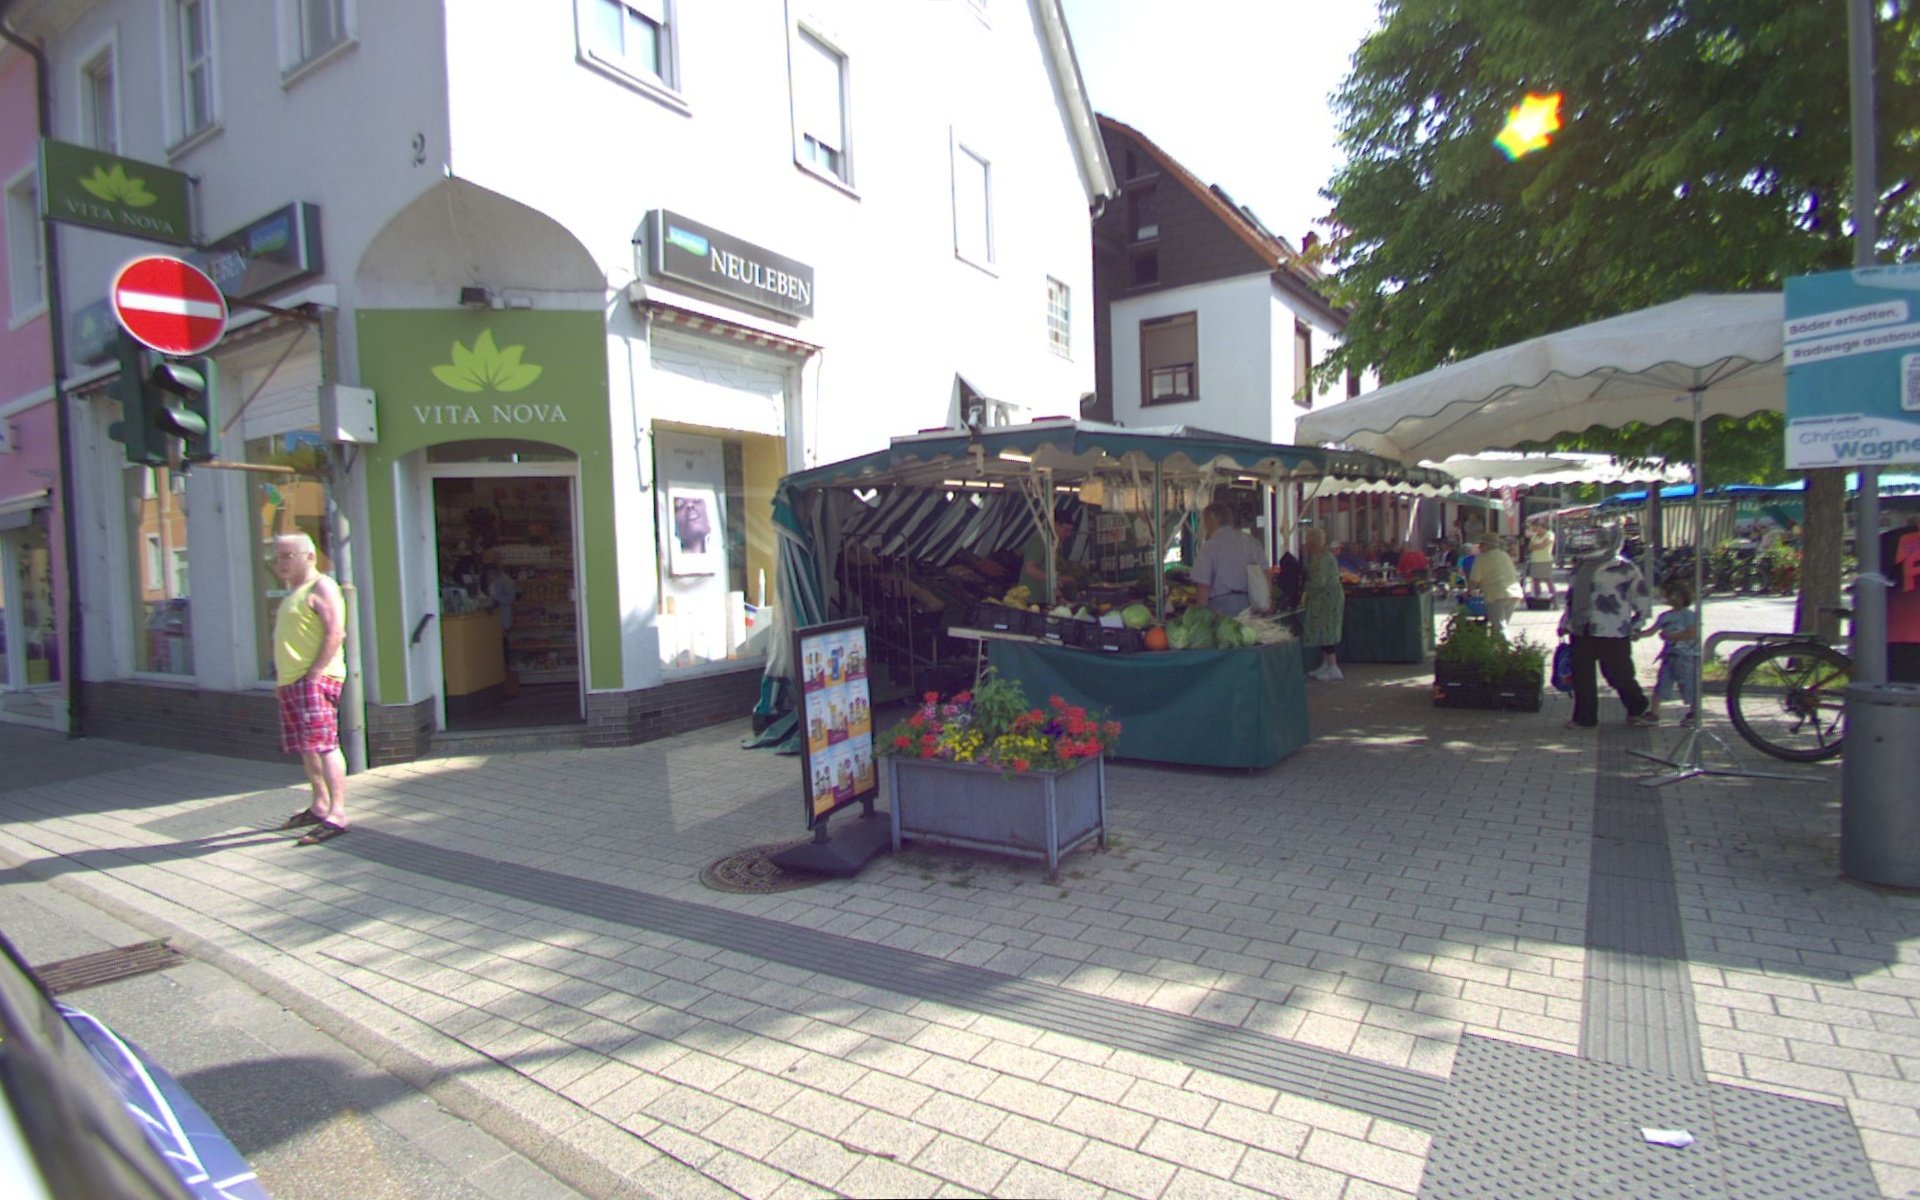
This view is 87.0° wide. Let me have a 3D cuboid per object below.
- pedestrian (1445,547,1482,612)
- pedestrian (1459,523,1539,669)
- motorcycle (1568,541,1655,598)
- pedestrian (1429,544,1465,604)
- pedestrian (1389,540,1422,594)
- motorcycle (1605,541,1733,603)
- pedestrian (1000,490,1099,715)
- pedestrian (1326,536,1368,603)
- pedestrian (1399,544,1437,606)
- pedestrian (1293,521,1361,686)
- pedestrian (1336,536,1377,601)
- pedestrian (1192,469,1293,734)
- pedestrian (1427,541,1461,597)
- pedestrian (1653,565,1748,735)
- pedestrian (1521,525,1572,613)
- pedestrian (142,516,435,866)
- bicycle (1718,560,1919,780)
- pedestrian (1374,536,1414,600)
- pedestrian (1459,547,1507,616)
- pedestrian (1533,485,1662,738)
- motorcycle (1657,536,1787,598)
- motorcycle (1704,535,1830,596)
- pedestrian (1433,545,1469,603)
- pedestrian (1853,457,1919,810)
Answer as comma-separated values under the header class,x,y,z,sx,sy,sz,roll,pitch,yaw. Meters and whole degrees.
class,x,y,z,sx,sy,sz,roll,pitch,yaw
pedestrian,9.540,-0.401,19.187,0.569,1.209,0.646,1,3,24
pedestrian,5.881,-0.044,11.045,0.622,1.529,0.624,-1,1,41
motorcycle,14.158,-0.680,22.010,1.529,1.204,0.636,2,3,35
pedestrian,10.089,-0.544,20.966,0.571,1.209,0.643,2,4,35
pedestrian,10.163,-0.752,23.098,0.571,1.209,0.643,2,4,35
motorcycle,14.378,-0.593,20.572,0.634,1.204,2.008,-3,4,-42
pedestrian,0.823,0.010,9.324,0.695,1.985,0.510,-2,1,-29
pedestrian,7.905,-0.641,20.687,0.626,1.340,0.691,2,4,38
pedestrian,9.152,-0.505,20.206,0.571,1.209,0.643,2,4,35
pedestrian,3.808,0.031,10.488,0.520,1.639,0.700,-1,1,30
pedestrian,8.399,-0.677,21.450,0.626,1.340,0.691,2,4,38
pedestrian,2.230,0.013,8.056,0.700,2.000,0.650,-1,1,14
pedestrian,10.705,-0.685,22.386,0.571,1.209,0.643,2,4,35
pedestrian,5.391,0.338,7.362,0.516,1.169,0.614,-1,1,39
pedestrian,10.657,-0.570,18.388,0.699,1.565,0.564,2,4,41
pedestrian,-3.887,0.461,5.994,1.004,1.827,0.910,-6,5,-13
bicycle,5.703,0.389,5.963,1.849,1.244,0.613,-2,1,22
pedestrian,9.279,-0.685,21.643,0.626,1.340,0.691,2,4,38
pedestrian,9.394,-0.343,18.197,0.694,1.209,0.568,1,3,21
pedestrian,4.719,0.071,7.483,0.706,1.737,0.778,-1,1,38
motorcycle,15.472,-0.682,20.601,0.634,1.204,2.008,-2,4,-42
motorcycle,16.565,-0.723,20.846,0.633,1.204,2.011,0,3,-14
pedestrian,10.450,-0.563,21.542,0.571,1.209,0.643,2,4,35
pedestrian,4.963,0.156,4.851,0.880,1.670,0.566,1,3,31
